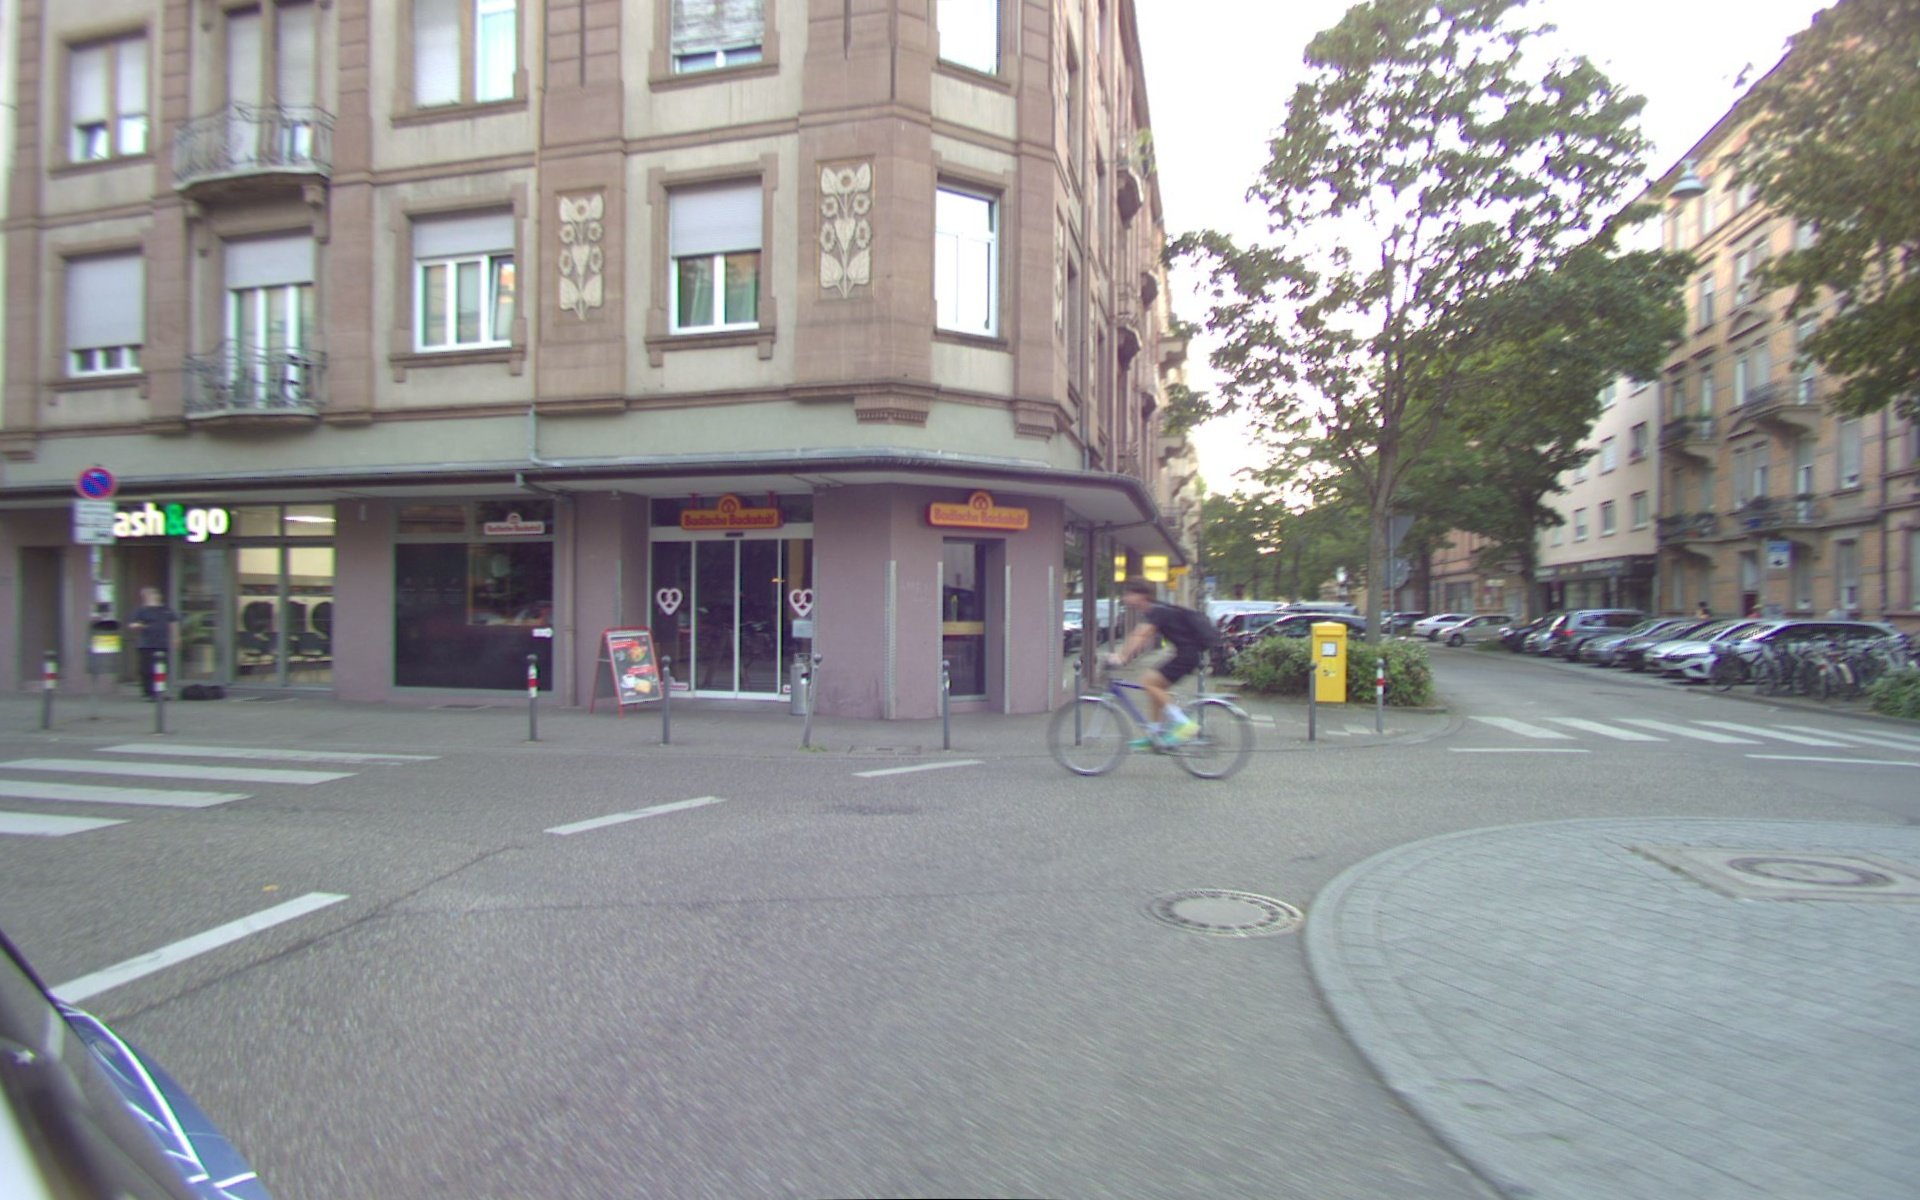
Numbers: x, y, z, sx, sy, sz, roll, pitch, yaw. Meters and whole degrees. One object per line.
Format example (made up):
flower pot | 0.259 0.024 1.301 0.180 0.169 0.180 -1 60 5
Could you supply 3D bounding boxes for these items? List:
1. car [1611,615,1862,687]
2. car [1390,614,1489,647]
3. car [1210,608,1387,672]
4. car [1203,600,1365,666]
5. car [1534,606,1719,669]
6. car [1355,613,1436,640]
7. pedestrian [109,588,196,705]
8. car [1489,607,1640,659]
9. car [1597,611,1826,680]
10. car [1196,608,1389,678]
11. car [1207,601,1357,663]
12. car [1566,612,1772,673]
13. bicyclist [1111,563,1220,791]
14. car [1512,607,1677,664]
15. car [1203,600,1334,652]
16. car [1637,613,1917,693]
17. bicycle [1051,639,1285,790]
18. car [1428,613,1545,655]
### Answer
car | 19.101 1.214 25.140 4.452 1.590 1.992 1 1 14
car | 25.774 1.623 54.518 4.452 1.627 1.992 1 1 14
car | 9.232 1.052 28.004 4.452 1.590 1.992 1 1 14
car | 9.661 0.945 30.553 4.452 1.844 1.992 1 1 14
car | 21.073 1.143 32.198 4.452 1.812 1.992 1 1 14
car | 27.942 1.698 65.113 4.452 1.627 1.992 1 1 14
pedestrian | -11.983 0.665 15.032 0.729 1.690 0.708 0 0 16
car | 22.677 1.212 38.165 4.452 1.812 1.992 1 1 14
car | 19.971 1.171 27.128 4.452 1.632 1.992 1 1 14
car | 8.287 1.038 25.659 4.452 1.590 1.992 1 1 14
car | 10.291 1.000 32.724 4.452 1.844 1.992 1 1 14
car | 20.574 1.206 29.579 4.452 1.590 1.992 1 1 14
bicyclist | 1.775 0.631 8.875 0.868 1.890 0.839 0 1 8
car | 22.096 1.198 35.439 4.452 1.812 1.992 1 1 14
car | 12.475 1.035 41.228 4.956 1.966 1.991 1 1 14
car | 18.296 1.143 22.912 4.452 1.590 1.992 1 1 14
bicycle | 1.772 0.966 8.876 1.912 1.180 0.839 0 1 7
car | 24.473 1.559 47.246 4.452 1.812 1.992 1 1 14
